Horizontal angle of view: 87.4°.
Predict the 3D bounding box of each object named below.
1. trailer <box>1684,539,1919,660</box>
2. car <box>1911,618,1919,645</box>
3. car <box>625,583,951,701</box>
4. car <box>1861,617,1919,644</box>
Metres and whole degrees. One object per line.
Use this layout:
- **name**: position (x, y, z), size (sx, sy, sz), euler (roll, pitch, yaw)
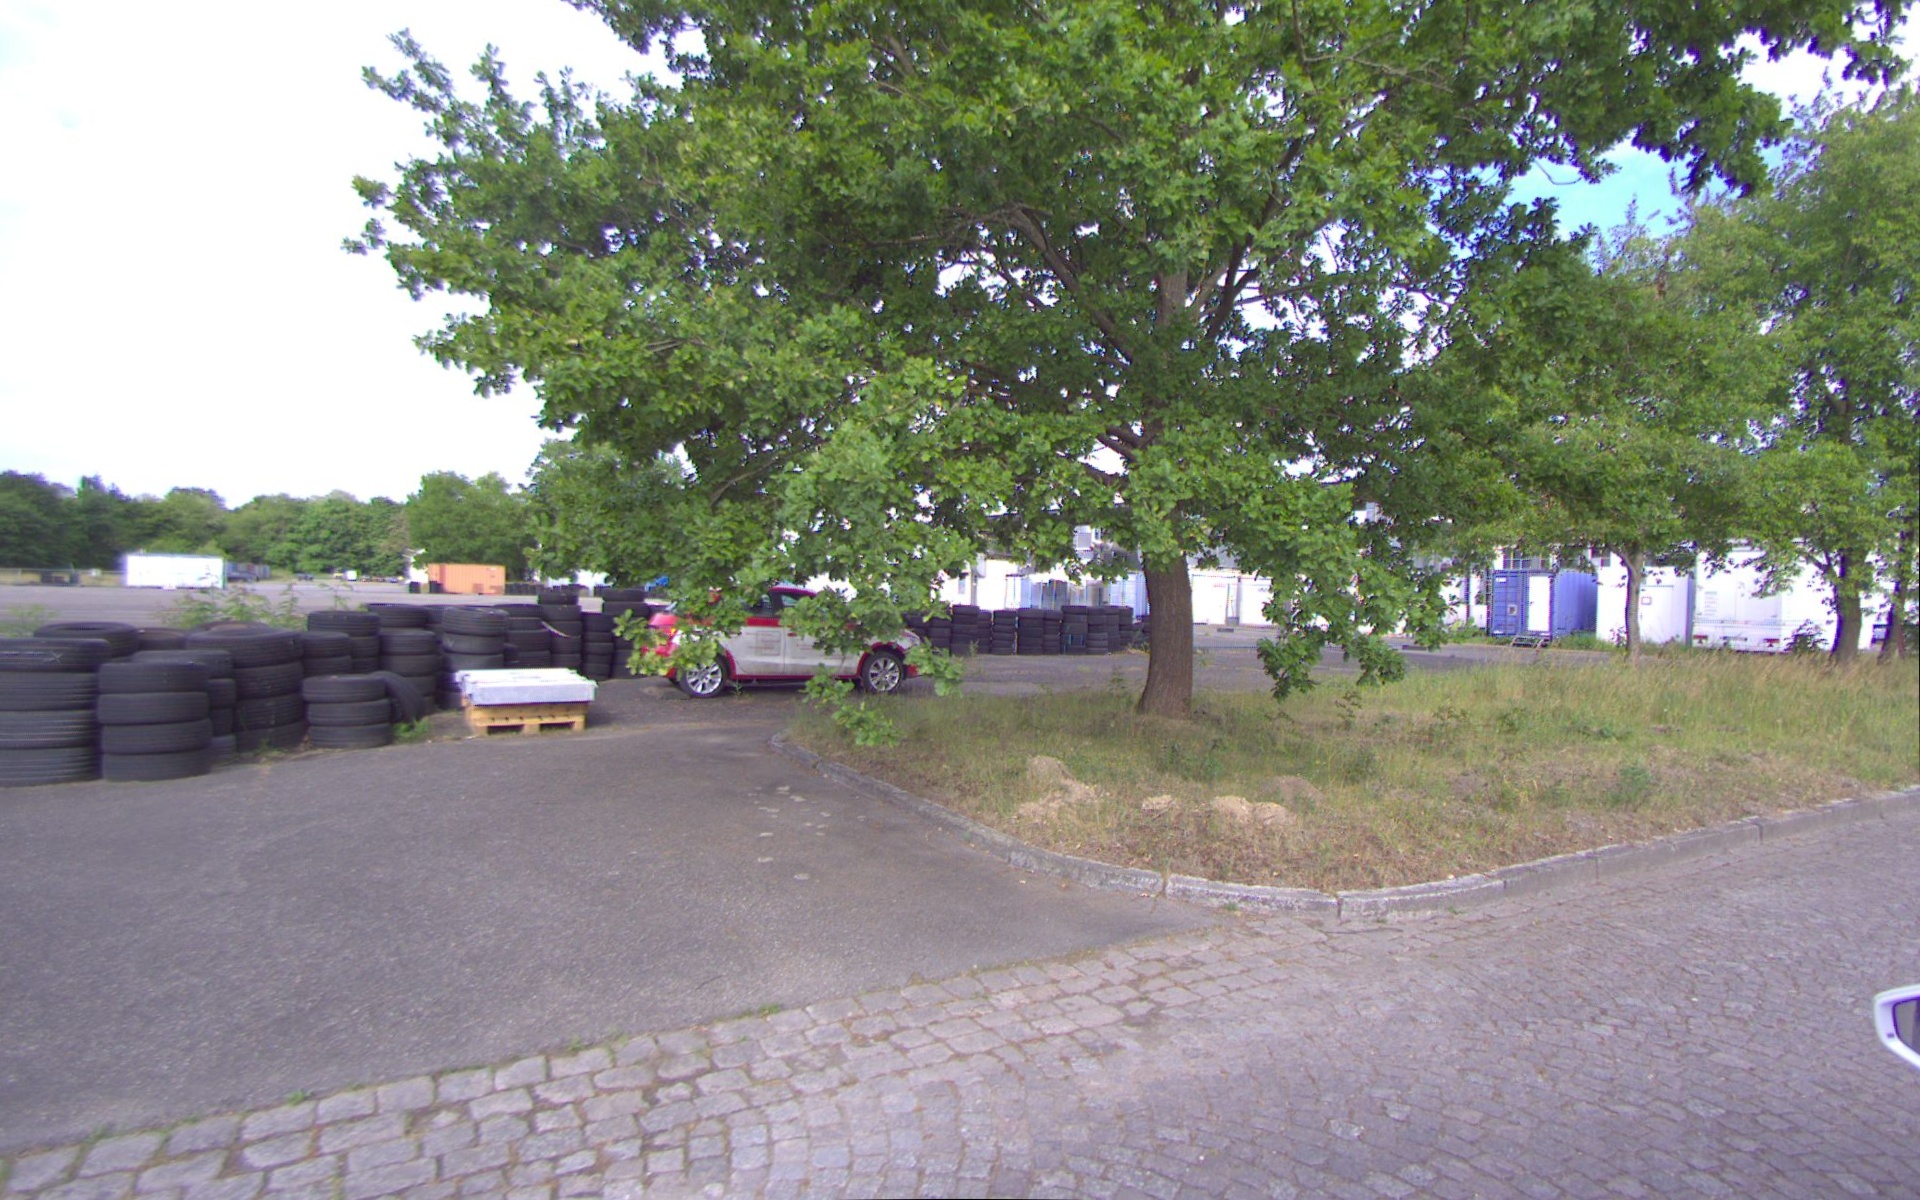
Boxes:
- **trailer**: position (29.532, 0.096, 34.961), size (10.589, 3.755, 2.645), euler (1, 0, -29)
- **car**: position (58.854, 1.929, 60.000), size (3.952, 1.596, 1.892), euler (1, 0, -29)
- **car**: position (-2.393, 0.551, 14.027), size (4.161, 1.451, 1.818), euler (1, 1, -25)
- **car**: position (58.372, 1.887, 62.809), size (3.952, 1.596, 1.892), euler (1, 0, -29)
